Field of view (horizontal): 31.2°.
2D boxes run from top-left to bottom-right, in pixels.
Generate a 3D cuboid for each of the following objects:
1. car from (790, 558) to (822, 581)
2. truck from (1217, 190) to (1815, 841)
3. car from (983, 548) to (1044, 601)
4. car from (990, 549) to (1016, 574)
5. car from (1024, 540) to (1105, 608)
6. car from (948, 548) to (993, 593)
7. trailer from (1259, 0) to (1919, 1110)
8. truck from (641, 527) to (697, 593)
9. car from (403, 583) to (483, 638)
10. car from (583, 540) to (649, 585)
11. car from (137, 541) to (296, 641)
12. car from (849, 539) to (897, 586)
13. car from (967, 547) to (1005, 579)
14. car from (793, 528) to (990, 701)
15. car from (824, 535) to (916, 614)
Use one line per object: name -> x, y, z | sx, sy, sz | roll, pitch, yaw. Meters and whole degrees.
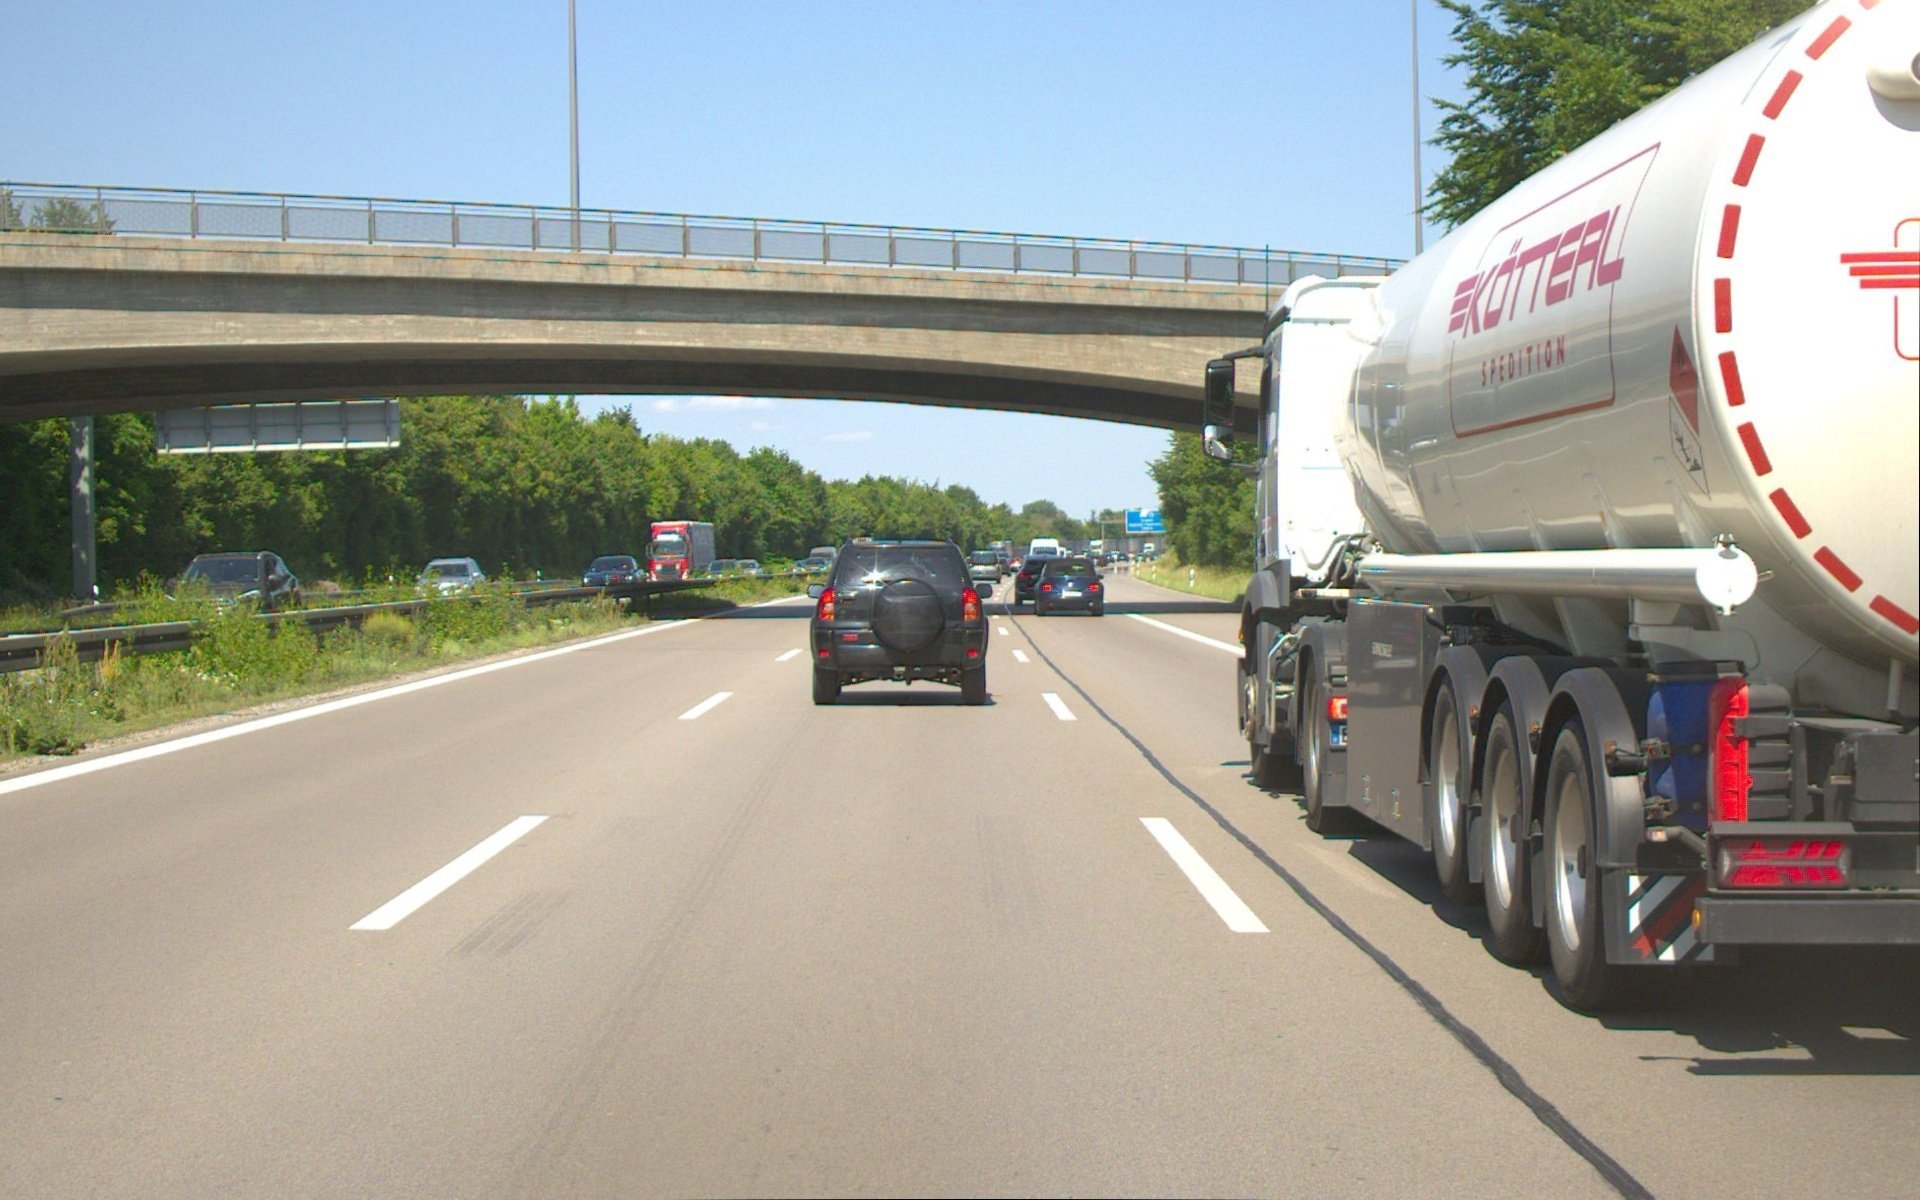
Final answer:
car -> -10.386, -2.094, 232.479 | 1.882, 1.478, 4.434 | -1, 1, 1
truck -> 3.124, -0.481, 21.090 | 2.638, 3.363, 6.487 | 0, 1, 0
car -> 1.666, -0.796, 108.136 | 1.842, 1.606, 4.000 | -1, 0, 0
car -> 3.189, -2.854, 254.849 | 1.812, 1.740, 4.000 | -1, 1, -1
car -> 2.685, -0.652, 89.005 | 1.993, 1.678, 4.000 | -1, 0, 1
car -> 0.470, -1.357, 157.588 | 1.993, 2.007, 4.768 | -1, 1, 0
trailer -> 3.170, -0.361, 14.991 | 2.648, 3.378, 11.152 | 0, 1, 0
truck -> -18.498, -2.568, 218.613 | 2.785, 4.047, 6.209 | -3, 1, 1
car -> -15.881, 0.315, 105.718 | 1.899, 1.635, 4.000 | -1, 0, -1
car -> -12.084, -1.338, 120.939 | 1.860, 1.522, 4.751 | -1, 1, 0
car -> -12.908, -0.191, 59.899 | 1.797, 1.661, 4.128 | -1, 1, 1
car -> -3.865, -1.675, 153.643 | 1.993, 2.007, 4.950 | -1, 1, 0
car -> 1.426, -2.104, 192.257 | 1.993, 1.744, 4.205 | -1, 1, -1
car -> -0.735, 0.118, 35.518 | 1.906, 1.659, 4.000 | -1, 1, -2
car -> -2.019, -0.596, 78.497 | 1.993, 1.700, 4.336 | -1, 1, 0
